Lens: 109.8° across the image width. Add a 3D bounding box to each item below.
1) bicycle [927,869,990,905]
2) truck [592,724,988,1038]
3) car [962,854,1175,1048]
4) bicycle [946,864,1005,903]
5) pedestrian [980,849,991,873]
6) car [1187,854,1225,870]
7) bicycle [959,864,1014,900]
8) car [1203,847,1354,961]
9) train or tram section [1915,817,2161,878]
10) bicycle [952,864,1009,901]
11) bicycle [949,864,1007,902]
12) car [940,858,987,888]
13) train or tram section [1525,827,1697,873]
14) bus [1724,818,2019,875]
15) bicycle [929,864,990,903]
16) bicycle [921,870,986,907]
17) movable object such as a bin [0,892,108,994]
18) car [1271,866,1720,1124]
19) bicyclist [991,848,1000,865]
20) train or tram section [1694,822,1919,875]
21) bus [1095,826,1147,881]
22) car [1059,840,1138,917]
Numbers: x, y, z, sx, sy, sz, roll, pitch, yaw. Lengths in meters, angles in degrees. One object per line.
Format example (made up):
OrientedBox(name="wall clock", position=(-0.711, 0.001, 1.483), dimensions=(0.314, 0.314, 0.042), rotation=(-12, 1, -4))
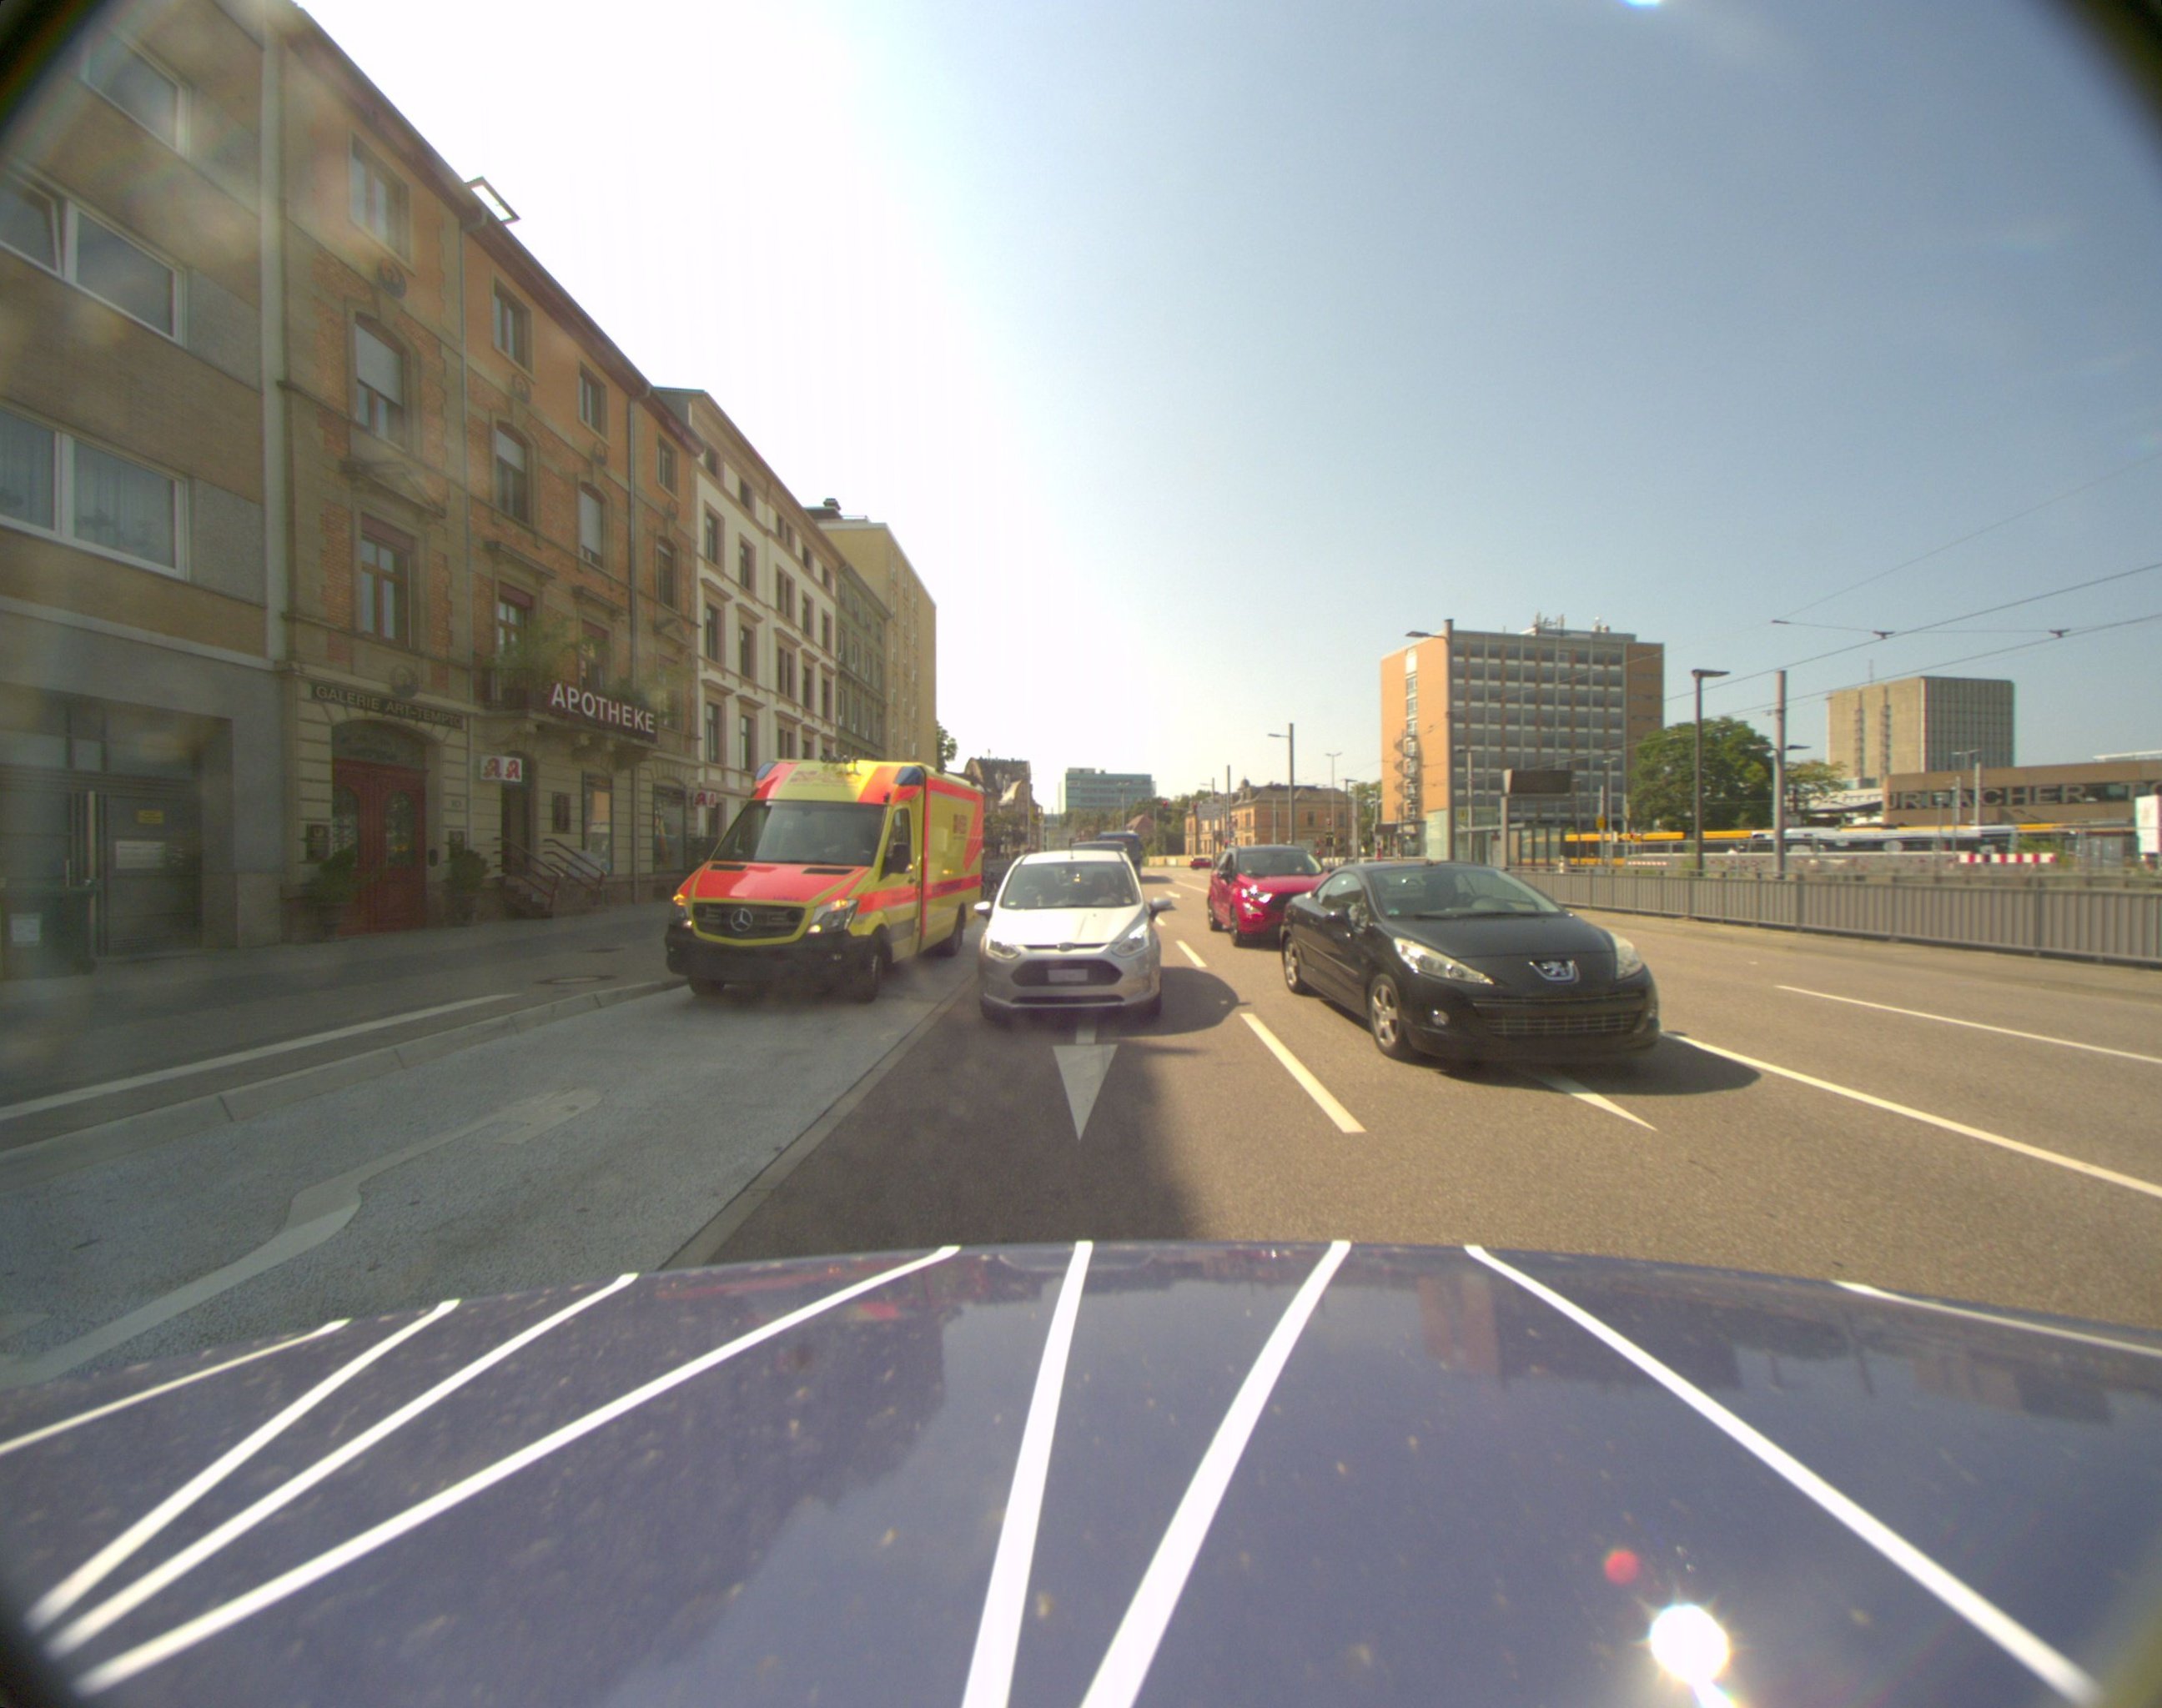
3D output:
OrientedBox(name="bicycle", position=(-3.874, 1.030, 24.073), dimensions=(1.841, 1.050, 0.657), rotation=(-2, 0, 1))
OrientedBox(name="truck", position=(-3.037, 0.217, 10.014), dimensions=(2.333, 2.754, 6.340), rotation=(2, 1, 4))
OrientedBox(name="car", position=(-0.059, 0.809, 8.306), dimensions=(1.728, 1.579, 4.000), rotation=(-1, 0, 1))
OrientedBox(name="bicycle", position=(-3.473, 0.974, 25.091), dimensions=(1.841, 1.196, 0.434), rotation=(-2, 1, 1))
OrientedBox(name="pedestrian", position=(-6.366, 0.466, 50.851), dimensions=(0.645, 1.619, 0.796), rotation=(1, 0, -1))
OrientedBox(name="car", position=(15.264, 0.960, 92.750), dimensions=(4.278, 1.722, 1.886), rotation=(-2, 0, 18))
OrientedBox(name="bicycle", position=(-3.344, 0.984, 27.066), dimensions=(1.841, 1.196, 0.637), rotation=(-2, 0, 2))
OrientedBox(name="car", position=(3.161, 0.713, 12.925), dimensions=(1.634, 1.611, 3.968), rotation=(-2, 0, 2))
OrientedBox(name="train or tram section", position=(63.843, -0.406, 49.743), dimensions=(2.004, 3.743, 12.331), rotation=(-1, 0, -45))
OrientedBox(name="bicycle", position=(-3.434, 0.976, 25.988), dimensions=(1.841, 1.212, 0.434), rotation=(-2, 1, 1))
OrientedBox(name="bicycle", position=(-3.447, 0.980, 25.527), dimensions=(1.841, 1.196, 0.434), rotation=(-2, 1, 1))
OrientedBox(name="car", position=(-6.155, 0.967, 40.167), dimensions=(1.666, 1.418, 3.934), rotation=(2, 0, 2))
OrientedBox(name="train or tram section", position=(46.441, -0.338, 67.165), dimensions=(2.004, 3.743, 12.331), rotation=(-1, 0, -45))
OrientedBox(name="bus", position=(52.267, -0.375, 51.167), dimensions=(3.357, 3.275, 13.371), rotation=(-3, 0, -45))
OrientedBox(name="bicycle", position=(-3.927, 0.966, 24.692), dimensions=(1.841, 1.196, 0.549), rotation=(-2, 1, 1))
OrientedBox(name="bicycle", position=(-3.905, 1.044, 23.383), dimensions=(1.841, 1.054, 0.657), rotation=(-2, 0, 1))
OrientedBox(name="movable object such as a bin", position=(-11.998, 1.001, 8.780), dimensions=(0.648, 1.098, 0.727), rotation=(1, 0, -25))
OrientedBox(name="car", position=(2.916, 0.859, 6.370), dimensions=(1.692, 1.405, 3.801), rotation=(-2, 0, 0))
OrientedBox(name="bicyclist", position=(-7.868, 0.245, 69.903), dimensions=(0.721, 1.577, 1.103), rotation=(-1, 0, 2))
OrientedBox(name="train or tram section", position=(55.163, -0.363, 58.434), dimensions=(2.004, 3.743, 12.331), rotation=(-1, 0, -45))
OrientedBox(name="bus", position=(2.684, -0.061, 50.777), dimensions=(2.919, 3.119, 12.346), rotation=(-2, 0, 3))
OrientedBox(name="car", position=(0.496, 0.629, 22.148), dimensions=(1.998, 1.953, 4.816), rotation=(-1, 0, 1))
